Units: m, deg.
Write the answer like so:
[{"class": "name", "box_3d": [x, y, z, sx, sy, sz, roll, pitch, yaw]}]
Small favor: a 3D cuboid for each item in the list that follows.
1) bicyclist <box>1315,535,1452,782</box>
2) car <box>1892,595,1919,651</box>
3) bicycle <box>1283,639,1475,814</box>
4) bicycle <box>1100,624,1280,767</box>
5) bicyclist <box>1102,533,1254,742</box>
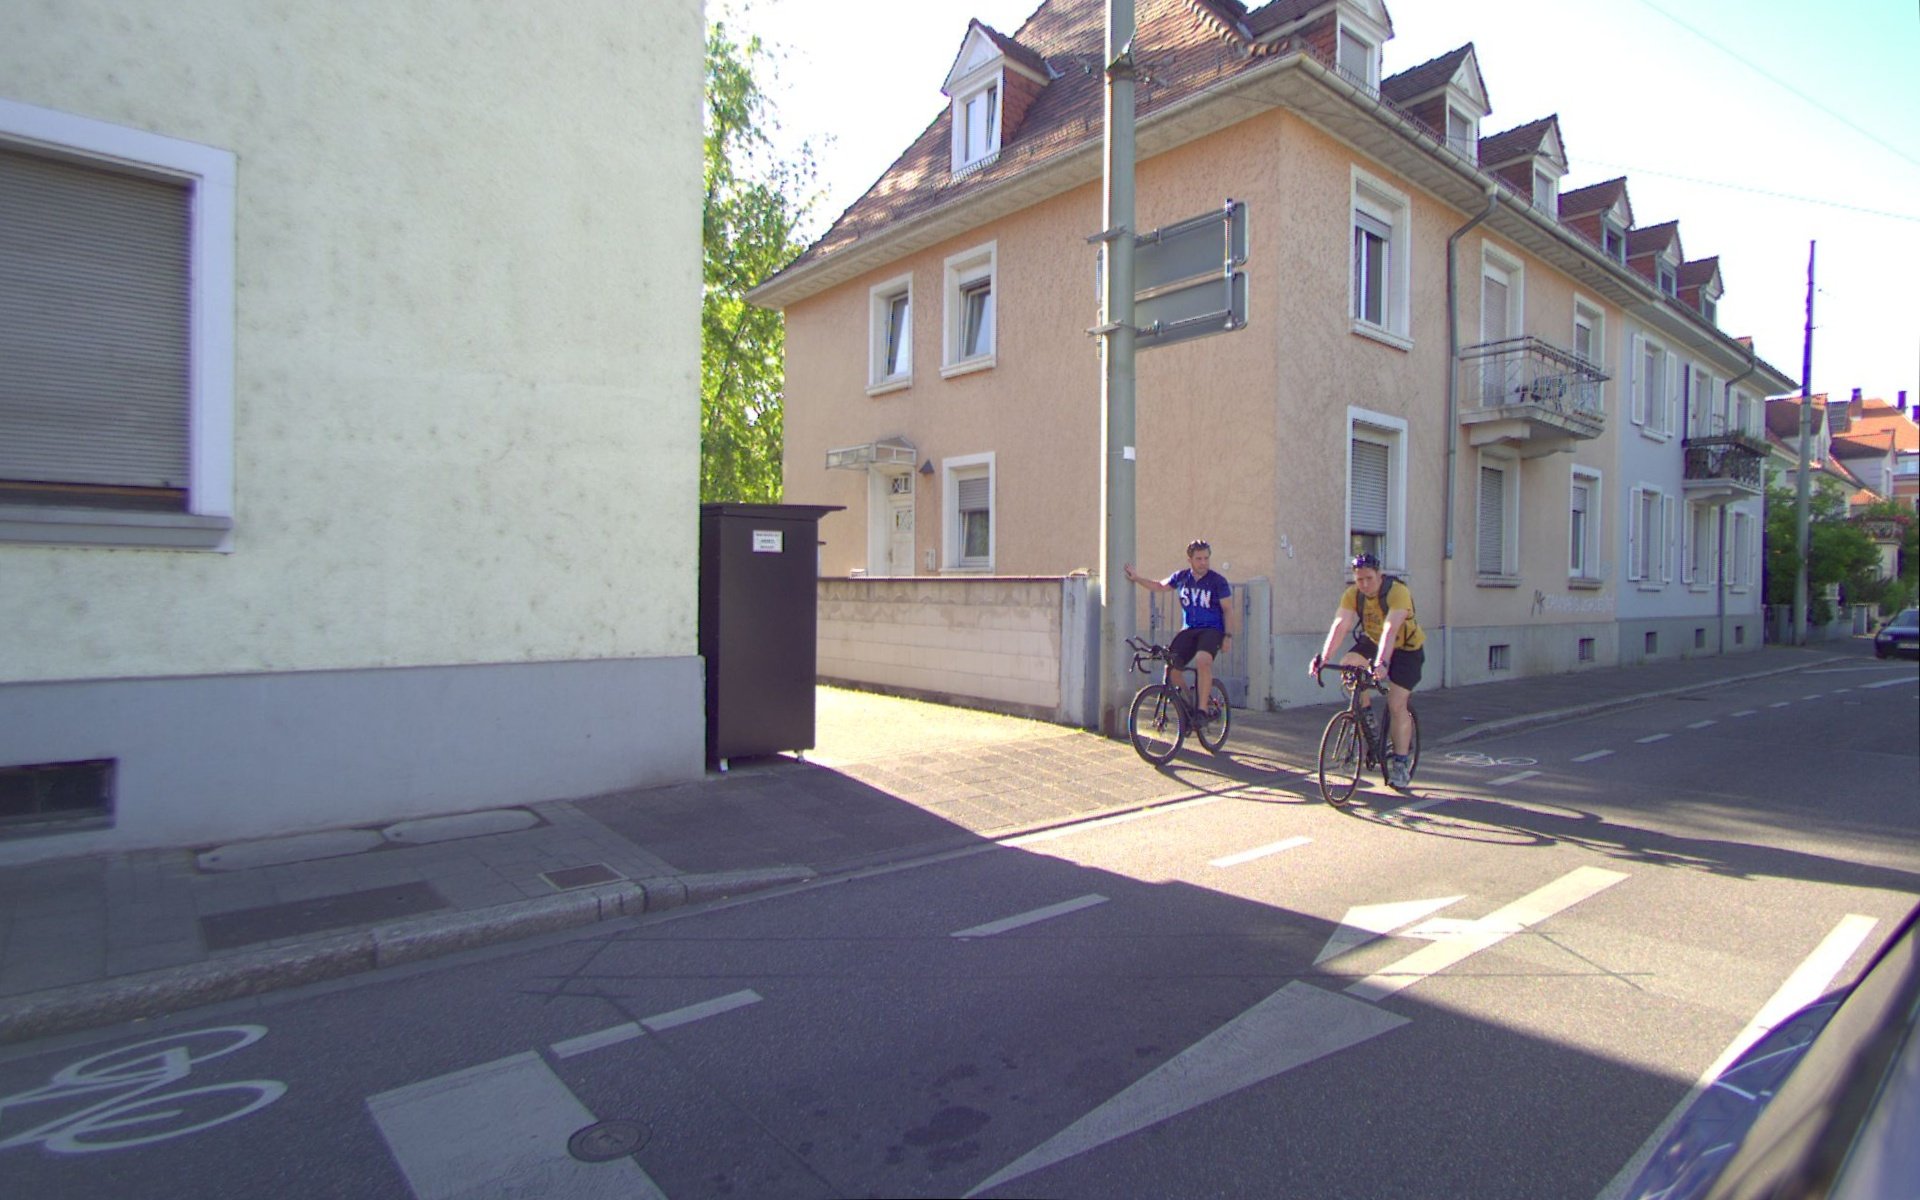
[{"class": "bicyclist", "box_3d": [3.224, 0.406, 7.696, 0.939, 1.743, 0.582, 0, 1, -41]}, {"class": "car", "box_3d": [26.647, 0.608, 27.327, 3.932, 1.438, 1.845, 0, 1, -42]}, {"class": "bicycle", "box_3d": [3.219, 0.893, 7.701, 1.778, 1.101, 0.611, 0, 1, -41]}, {"class": "bicycle", "box_3d": [2.066, 0.792, 8.975, 1.689, 1.064, 0.595, 0, 6, -41]}, {"class": "bicyclist", "box_3d": [1.972, 0.308, 9.199, 0.838, 1.760, 1.071, 0, 0, -40]}]
